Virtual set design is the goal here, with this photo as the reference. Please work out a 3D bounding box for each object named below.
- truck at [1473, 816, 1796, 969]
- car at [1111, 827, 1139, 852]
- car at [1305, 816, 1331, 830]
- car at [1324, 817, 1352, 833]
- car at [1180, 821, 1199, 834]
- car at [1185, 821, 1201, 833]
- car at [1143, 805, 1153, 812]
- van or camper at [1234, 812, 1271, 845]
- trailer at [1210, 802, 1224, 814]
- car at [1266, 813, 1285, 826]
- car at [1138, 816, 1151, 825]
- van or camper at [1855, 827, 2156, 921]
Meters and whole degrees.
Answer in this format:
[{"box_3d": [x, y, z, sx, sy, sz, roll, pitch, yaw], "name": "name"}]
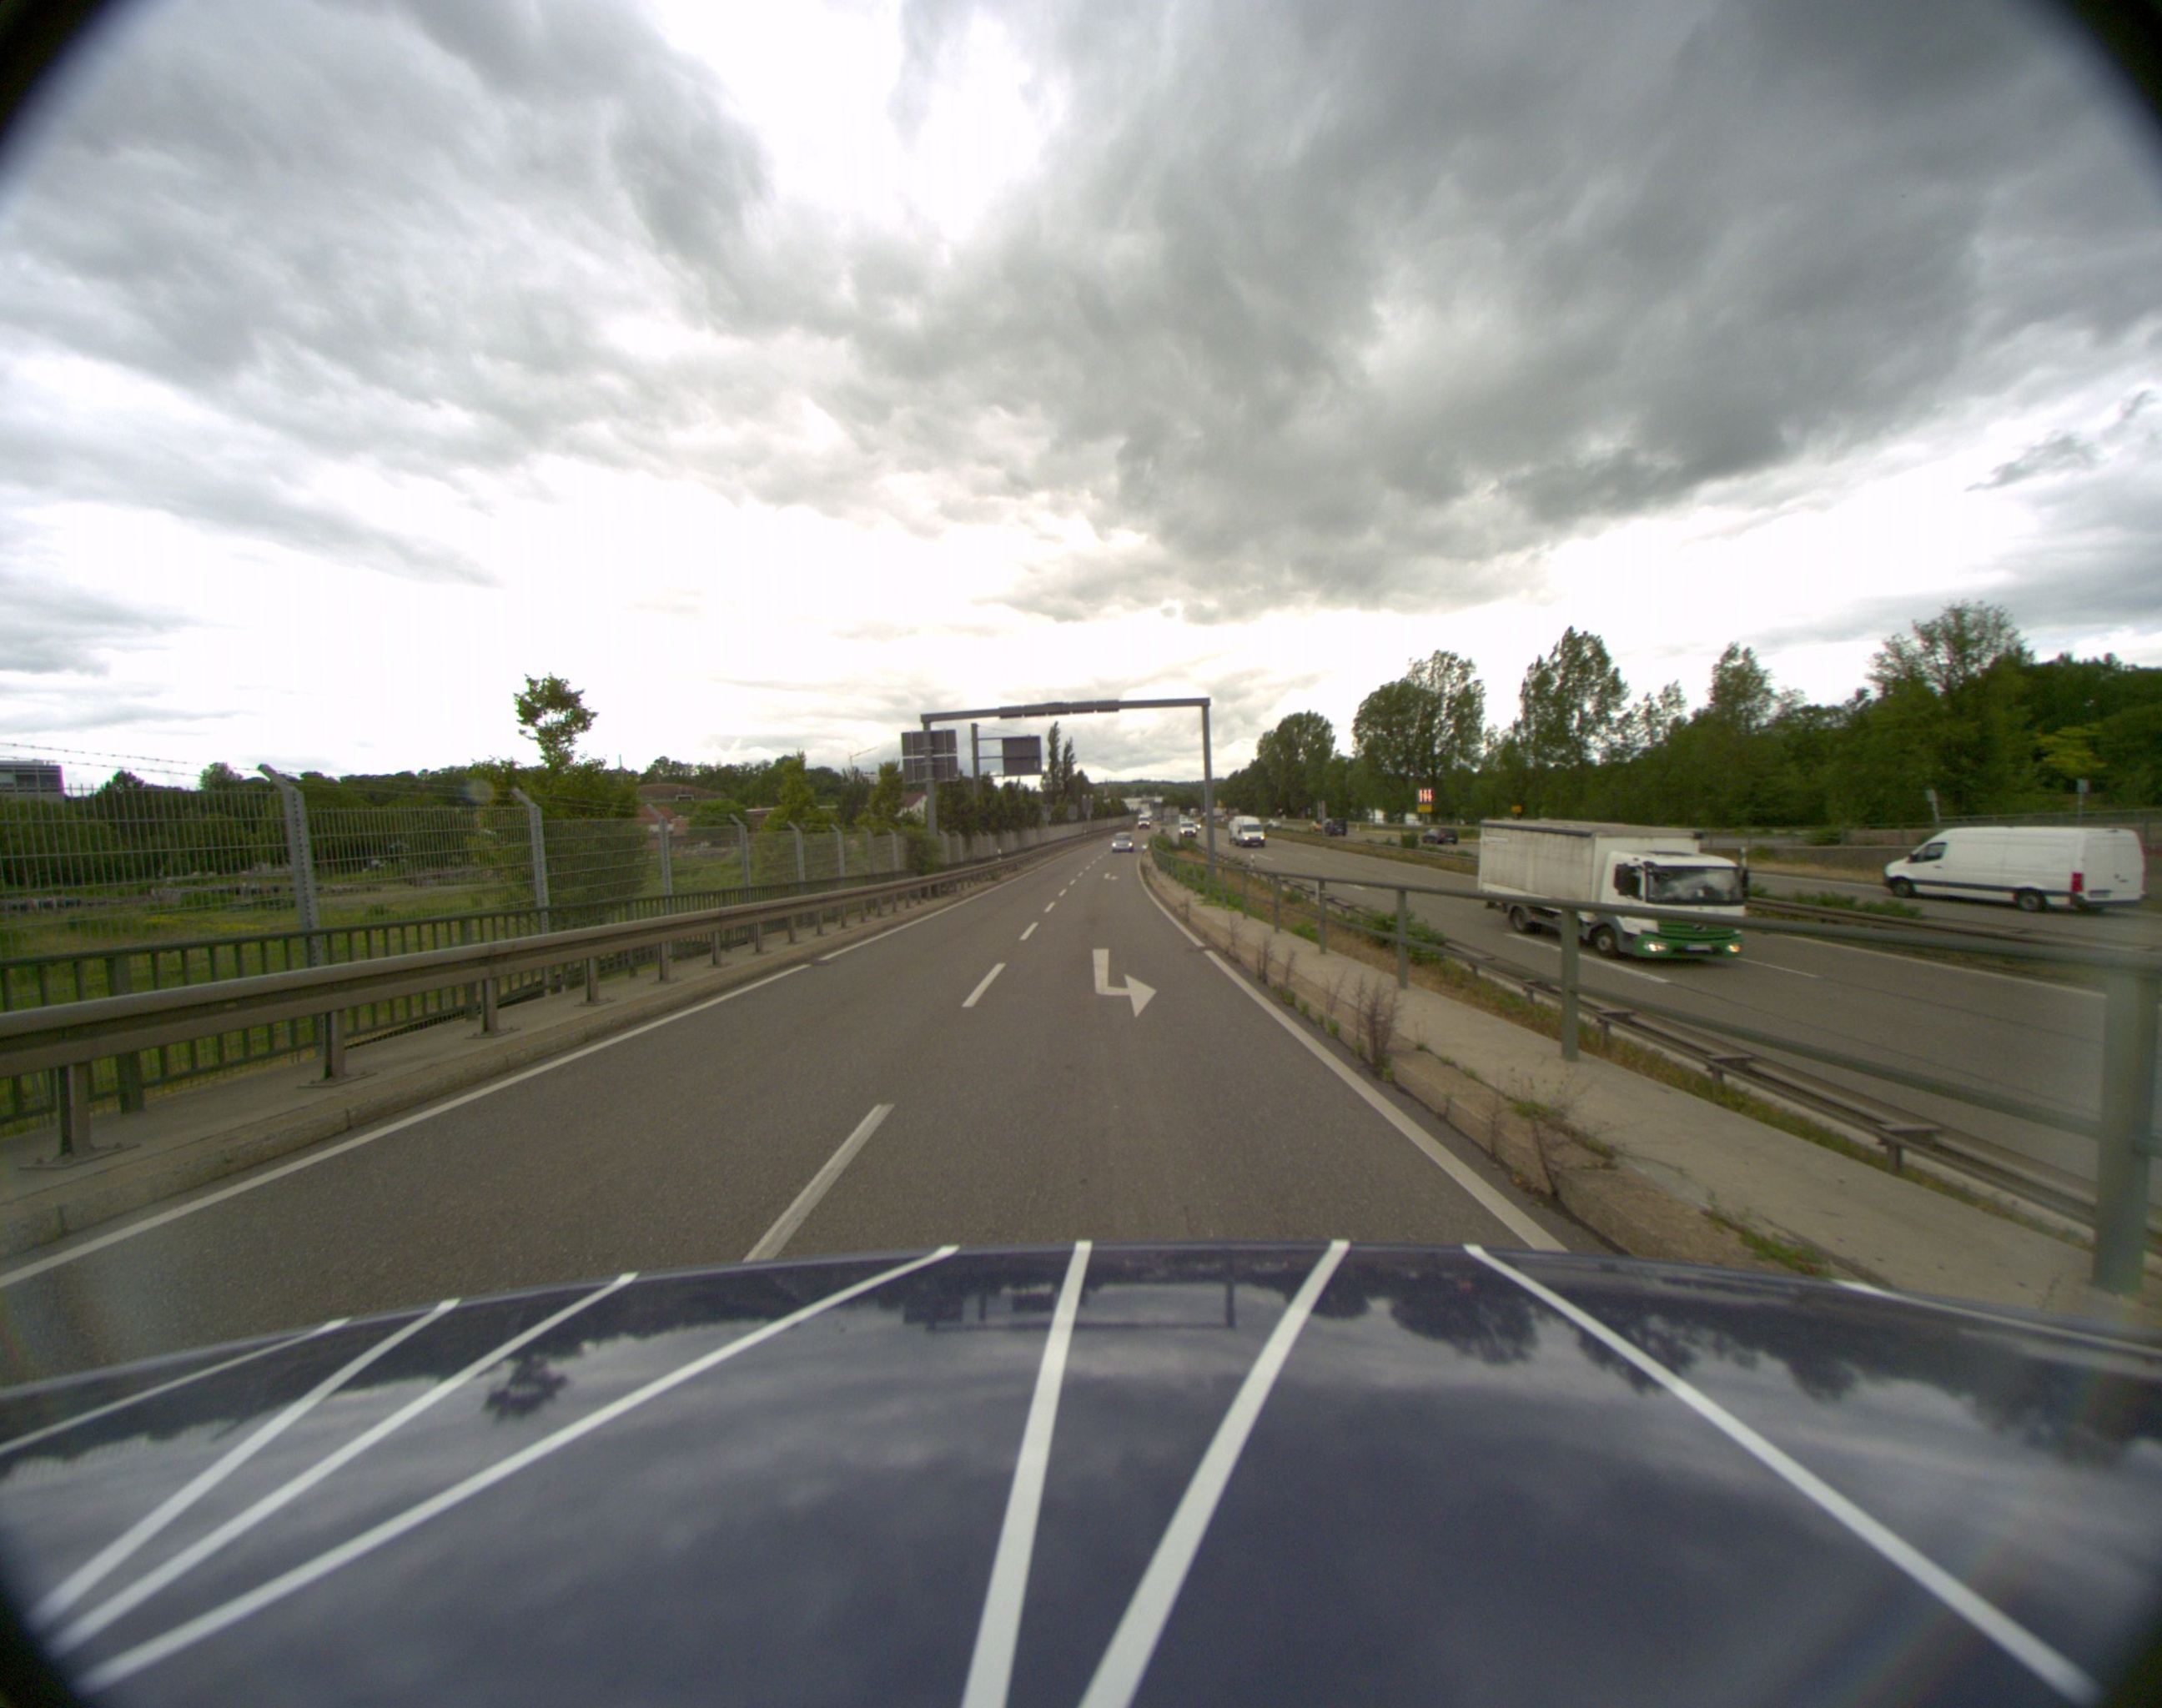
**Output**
[{"box_3d": [13.868, 0.656, 20.167, 3.039, 3.142, 7.563, -1, 4, 1], "name": "truck"}, {"box_3d": [3.840, -1.197, 65.356, 1.997, 2.002, 4.003, 0, 0, 9], "name": "car"}, {"box_3d": [31.557, -4.179, 101.398, 1.998, 1.711, 4.699, -1, 5, 0], "name": "car"}, {"box_3d": [28.965, -3.283, 85.838, 1.998, 1.741, 3.999, -1, 3, 3], "name": "car"}, {"box_3d": [12.712, -3.102, 89.075, 1.998, 1.392, 4.000, -1, 3, 6], "name": "car"}, {"box_3d": [17.494, -4.250, 119.123, 1.998, 1.736, 3.998, -1, 3, 2], "name": "car"}, {"box_3d": [16.916, -11.501, 191.747, 1.998, 1.794, 3.996, -1, 5, 0], "name": "car"}, {"box_3d": [15.281, -2.358, 67.990, 2.209, 2.590, 6.325, -2, 4, 4], "name": "van or camper"}, {"box_3d": [45.358, -15.357, 253.549, 2.796, 3.928, 13.507, -3, 4, 4], "name": "trailer"}, {"box_3d": [31.015, -5.521, 121.193, 1.998, 1.684, 4.698, -1, 7, 1], "name": "car"}, {"box_3d": [11.342, -5.996, 135.095, 1.998, 1.587, 3.998, -1, 3, 0], "name": "car"}, {"box_3d": [30.142, 0.472, 25.301, 2.188, 2.444, 6.343, -3, 4, -1], "name": "van or camper"}]
